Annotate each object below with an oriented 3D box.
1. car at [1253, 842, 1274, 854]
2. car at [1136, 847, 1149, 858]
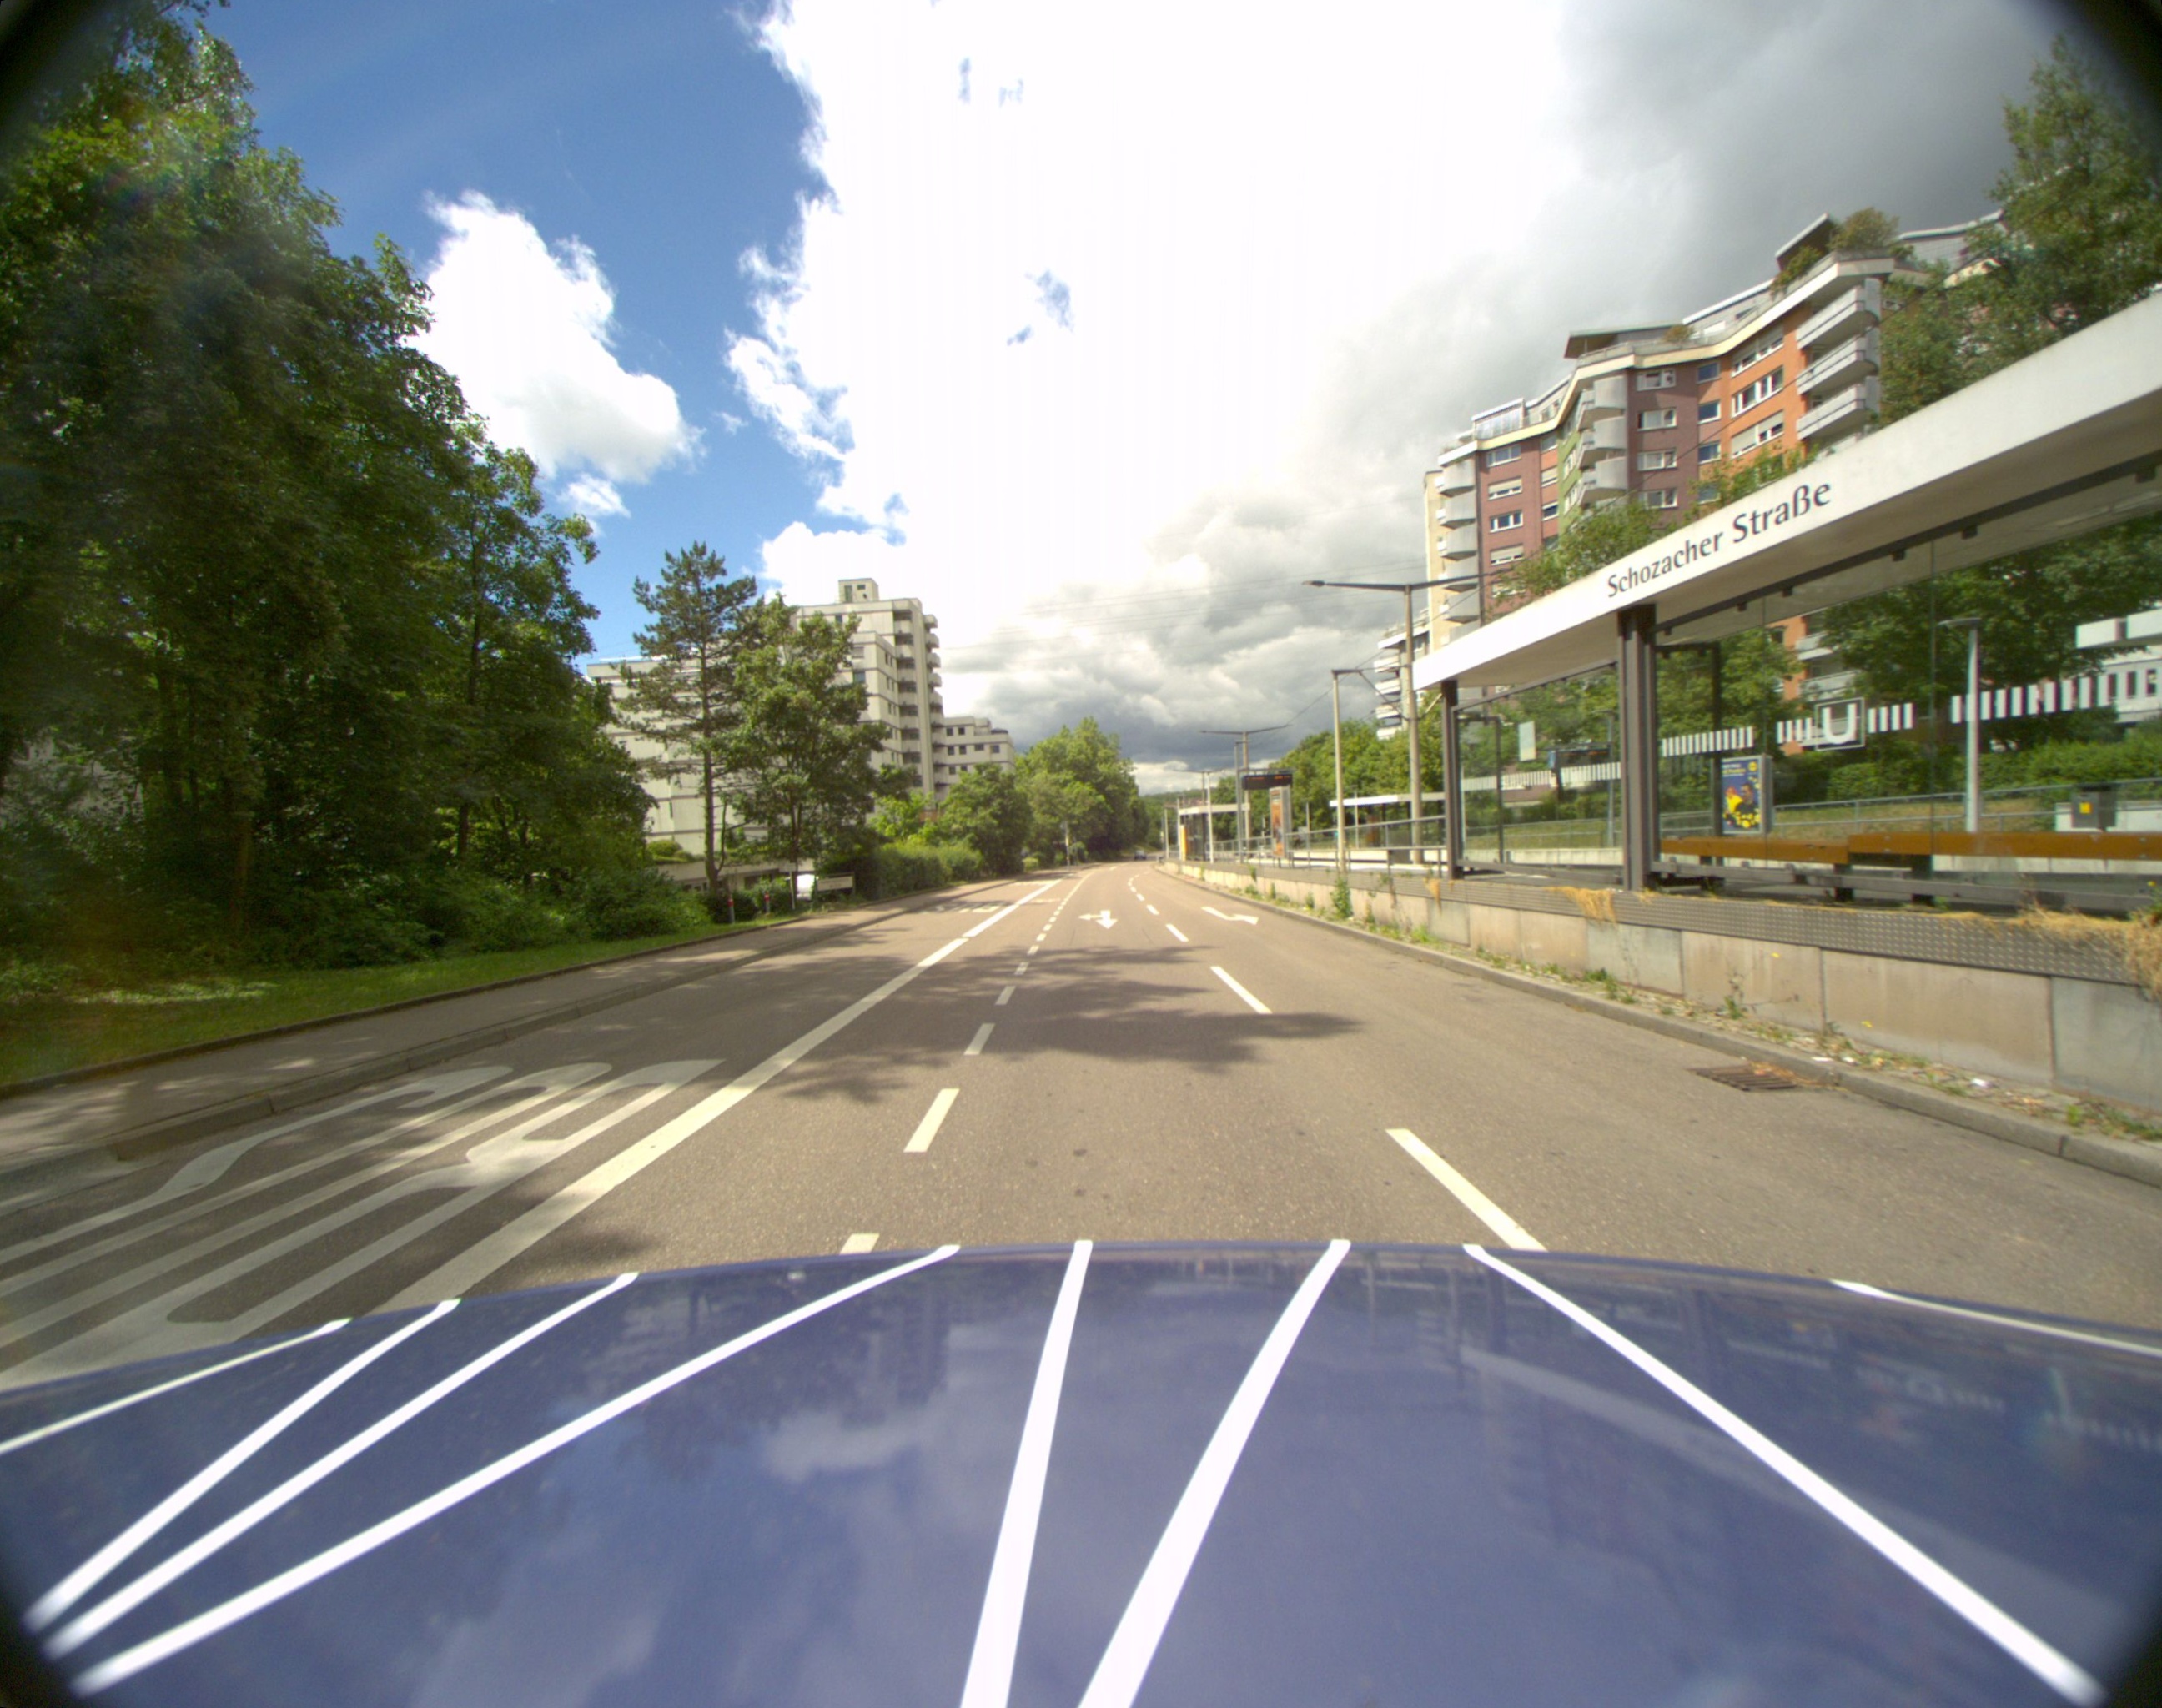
[{"bbox_3d":[22.611,-0.714,94.138,1.658,1.410,4.000,-2,1,1],"label":"car"},{"bbox_3d":[8.862,-0.207,109.848,1.736,1.477,3.817,-2,1,5],"label":"car"}]
